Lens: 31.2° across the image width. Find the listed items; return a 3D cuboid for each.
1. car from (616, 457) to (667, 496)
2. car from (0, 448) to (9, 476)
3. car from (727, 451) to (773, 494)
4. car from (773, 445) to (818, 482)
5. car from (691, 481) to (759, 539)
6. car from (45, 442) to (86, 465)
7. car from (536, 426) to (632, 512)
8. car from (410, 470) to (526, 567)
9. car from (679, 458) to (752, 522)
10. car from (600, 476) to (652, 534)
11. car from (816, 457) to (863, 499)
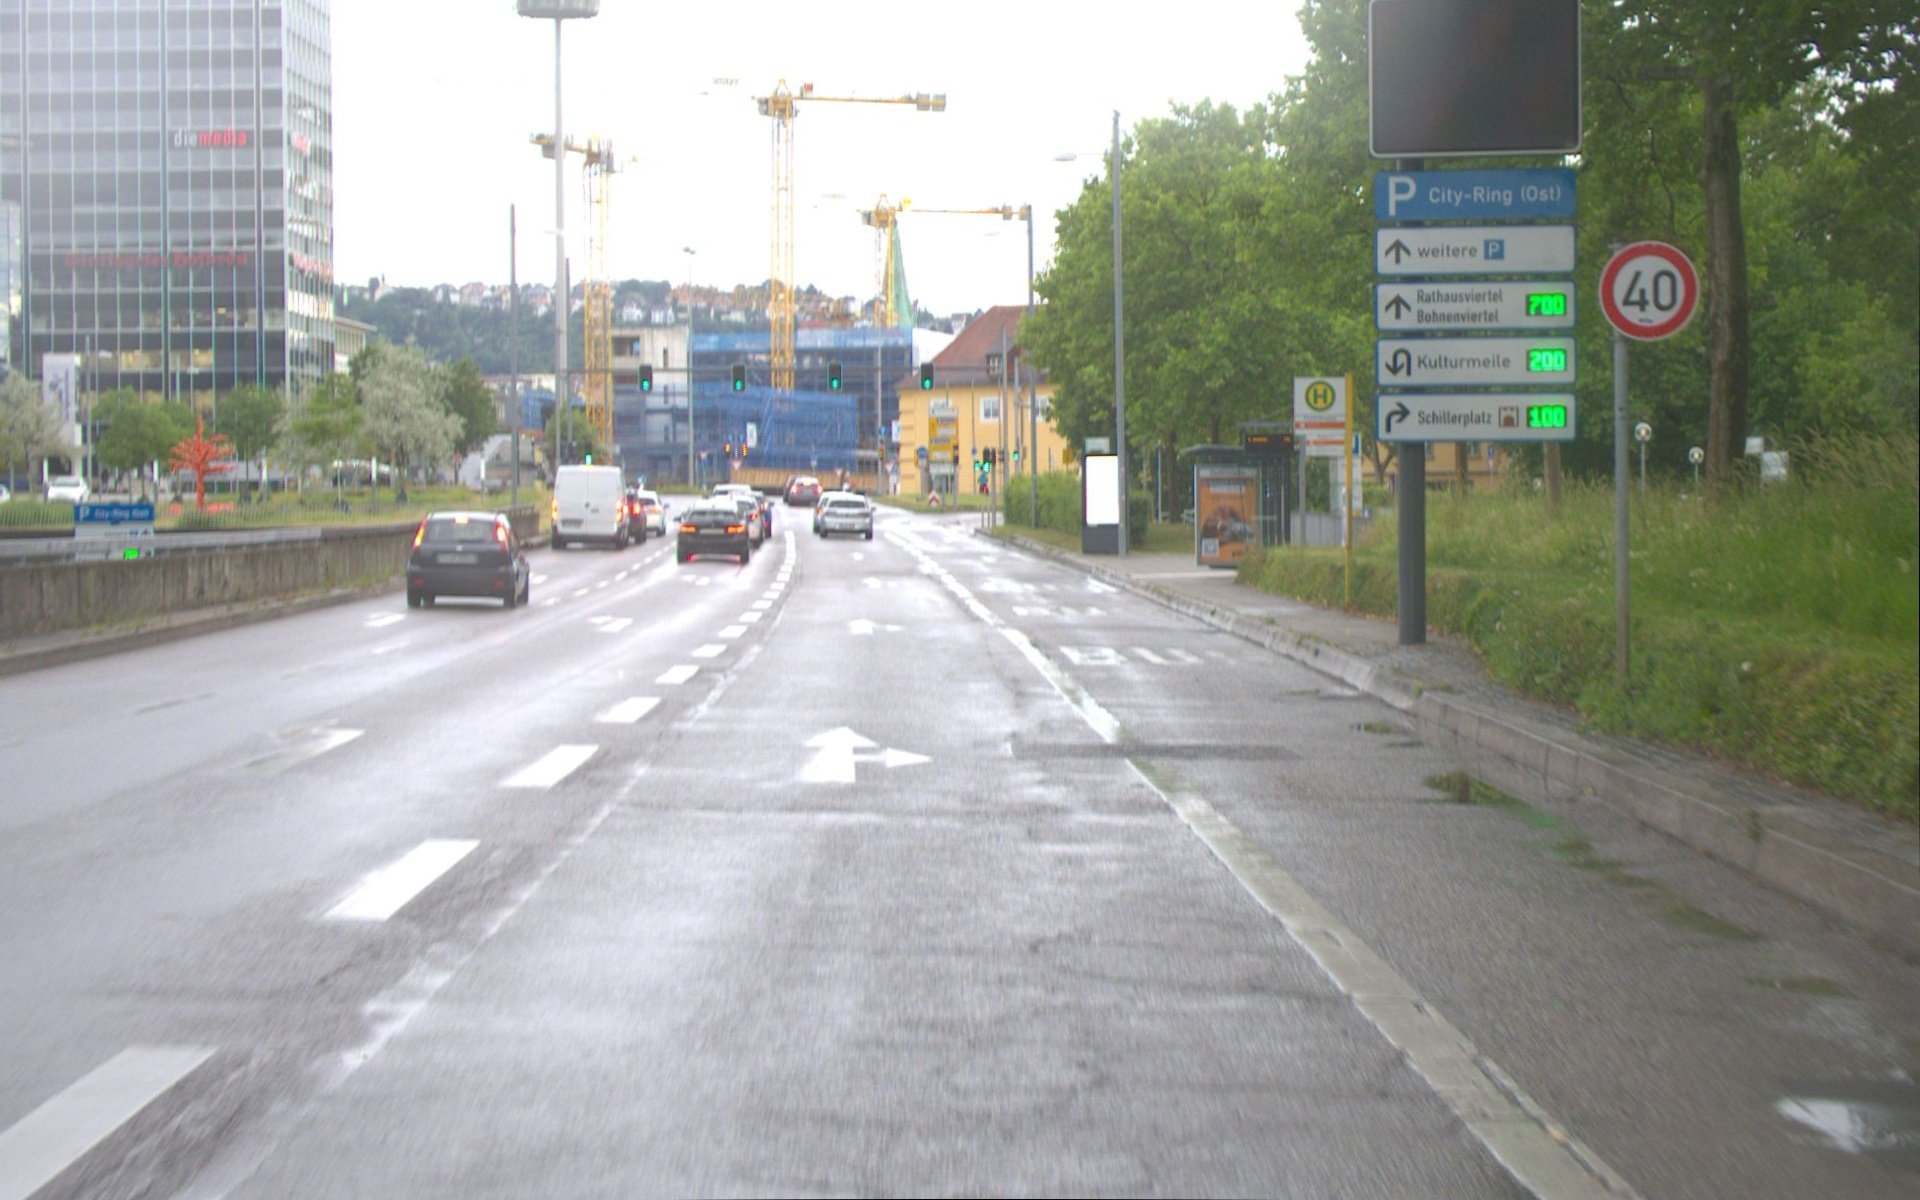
[{"bbox_3d":[-10.483,-4.064,113.261,1.551,1.256,2.581,1,2,-3],"label":"car"},{"bbox_3d":[-43.900,-6.203,154.488,1.408,1.250,3.166,1,2,0],"label":"car"},{"bbox_3d":[-6.956,-4.217,114.092,1.493,1.364,3.034,1,2,-3],"label":"car"},{"bbox_3d":[-8.712,-7.212,182.244,2.161,1.873,3.771,1,2,0],"label":"car"},{"bbox_3d":[-6.963,-2.650,101.481,1.880,1.647,3.459,1,2,-5],"label":"car"},{"bbox_3d":[-45.528,-7.468,174.979,1.440,1.110,3.021,1,2,-3],"label":"car"},{"bbox_3d":[-10.526,-3.656,96.565,2.292,2.306,5.007,1,2,-2],"label":"car"},{"bbox_3d":[-7.539,-1.264,52.936,1.542,1.410,3.903,1,2,-5],"label":"car"},{"bbox_3d":[-6.147,-2.791,86.506,1.753,1.466,4.224,1,3,-4],"label":"car"},{"bbox_3d":[-10.057,-2.873,103.630,1.464,1.700,3.142,1,2,-5],"label":"car"},{"bbox_3d":[-3.999,-4.057,114.742,1.444,1.354,2.412,1,2,0],"label":"car"}]
